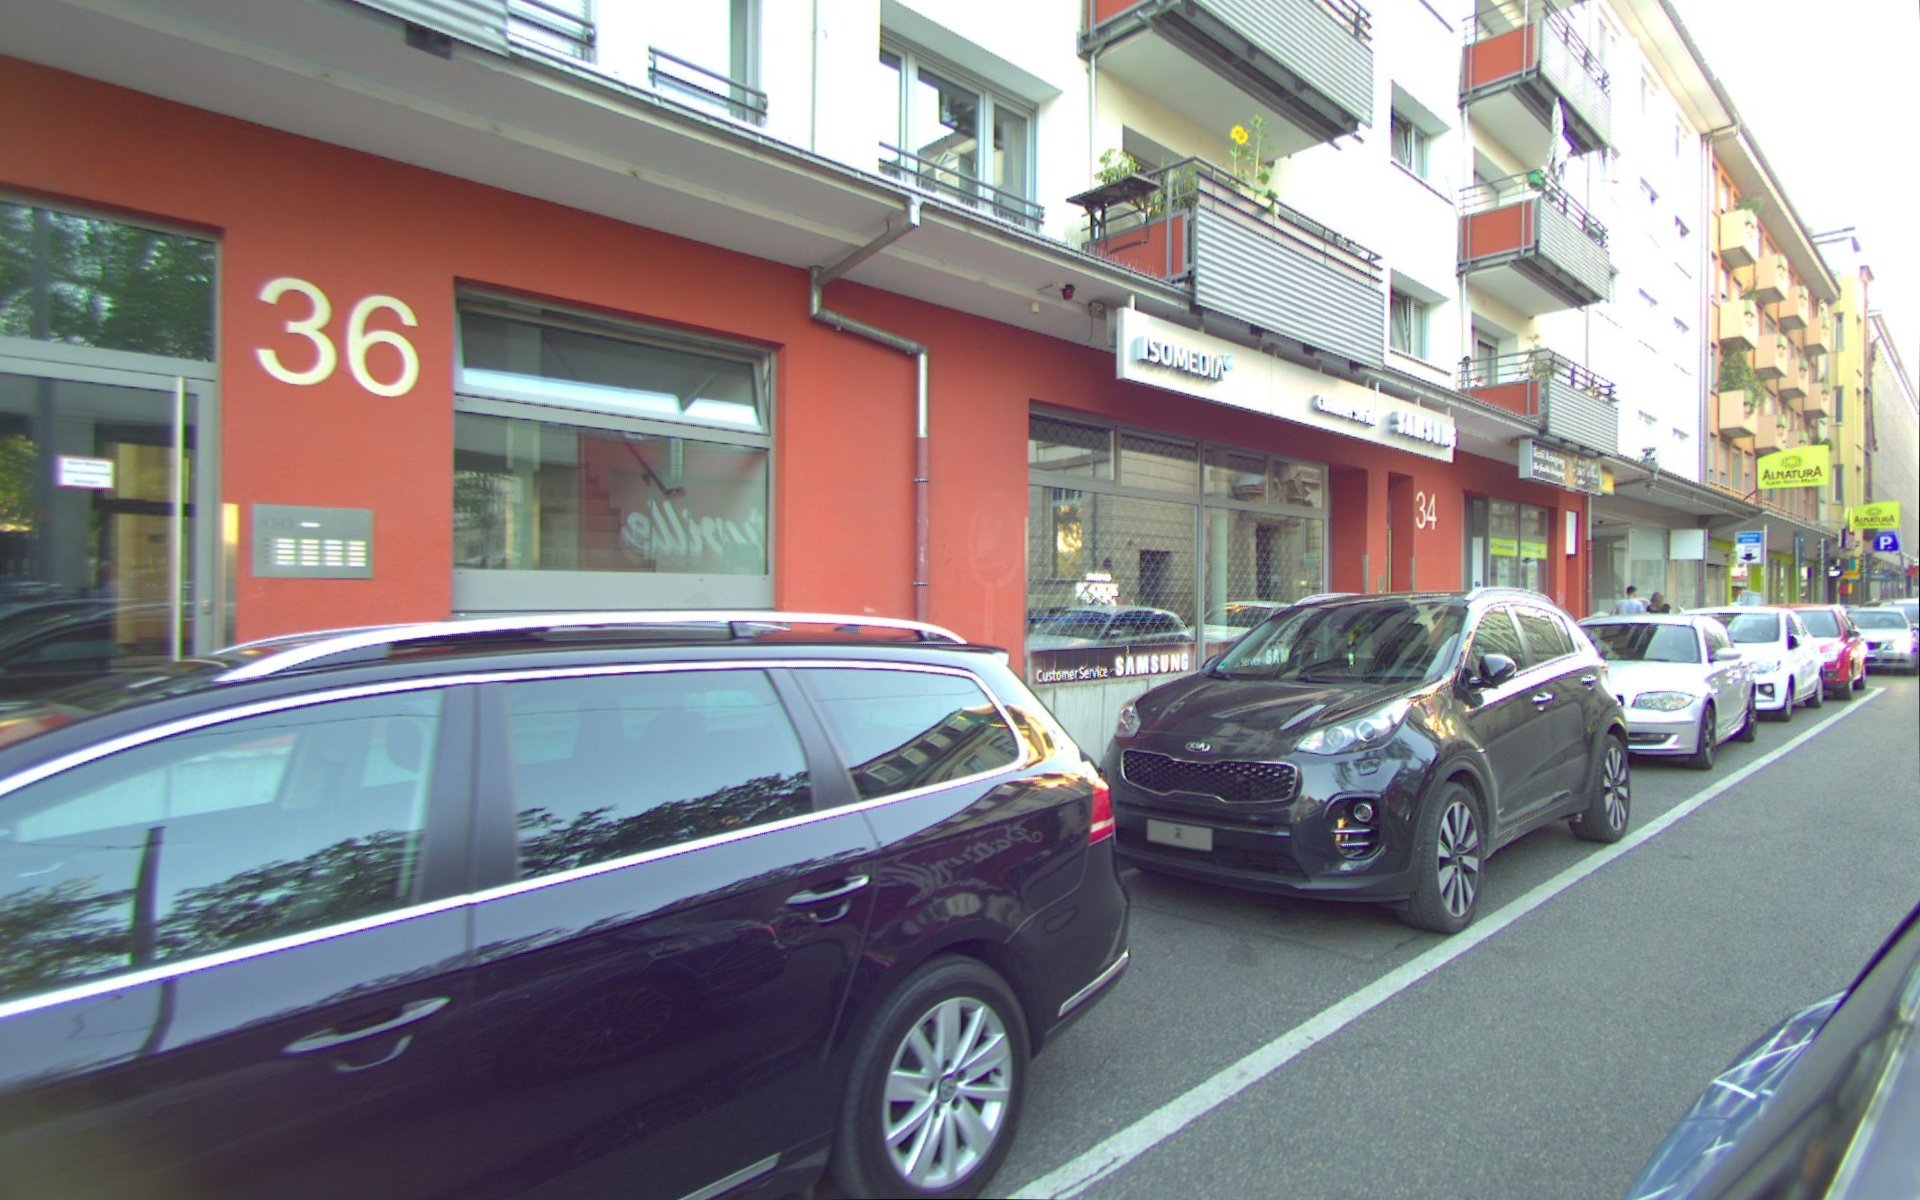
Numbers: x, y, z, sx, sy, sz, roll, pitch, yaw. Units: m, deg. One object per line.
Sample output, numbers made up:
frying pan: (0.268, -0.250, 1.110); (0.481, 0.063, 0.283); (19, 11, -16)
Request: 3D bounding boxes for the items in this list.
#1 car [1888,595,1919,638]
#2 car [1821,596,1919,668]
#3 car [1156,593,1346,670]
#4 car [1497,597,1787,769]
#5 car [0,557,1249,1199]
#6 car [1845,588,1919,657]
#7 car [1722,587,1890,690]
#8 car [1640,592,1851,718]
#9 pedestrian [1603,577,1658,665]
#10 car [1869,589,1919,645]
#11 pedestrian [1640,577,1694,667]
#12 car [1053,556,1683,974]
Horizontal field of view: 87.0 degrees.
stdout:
car: (34.187, 0.562, 35.687); (4.674, 1.433, 1.693); (1, -2, -42)
car: (20.363, 0.677, 22.254); (4.605, 1.433, 1.737); (1, -3, -44)
car: (5.809, 0.565, 19.981); (3.929, 1.353, 1.743); (0, 0, -41)
car: (7.417, 0.752, 10.818); (4.385, 1.471, 1.699); (1, -3, -45)
car: (-1.405, 0.737, 2.356); (4.708, 1.522, 1.767); (1, -2, -42)
car: (24.287, 0.564, 25.795); (4.404, 1.631, 1.798); (0, -2, -38)
car: (14.486, 0.617, 17.234); (4.575, 1.532, 1.713); (1, -3, -44)
car: (11.150, 0.712, 14.278); (3.978, 1.532, 1.608); (1, -2, -42)
pedestrian: (13.280, 0.401, 20.032); (0.780, 1.681, 0.649); (0, 3, -41)
car: (30.595, 0.542, 32.377); (4.674, 1.690, 1.754); (1, -3, -42)
pedestrian: (13.661, 0.410, 19.561); (0.643, 1.681, 0.649); (0, 3, -41)
car: (2.828, 0.698, 6.310); (4.709, 1.663, 1.766); (1, -3, -43)
